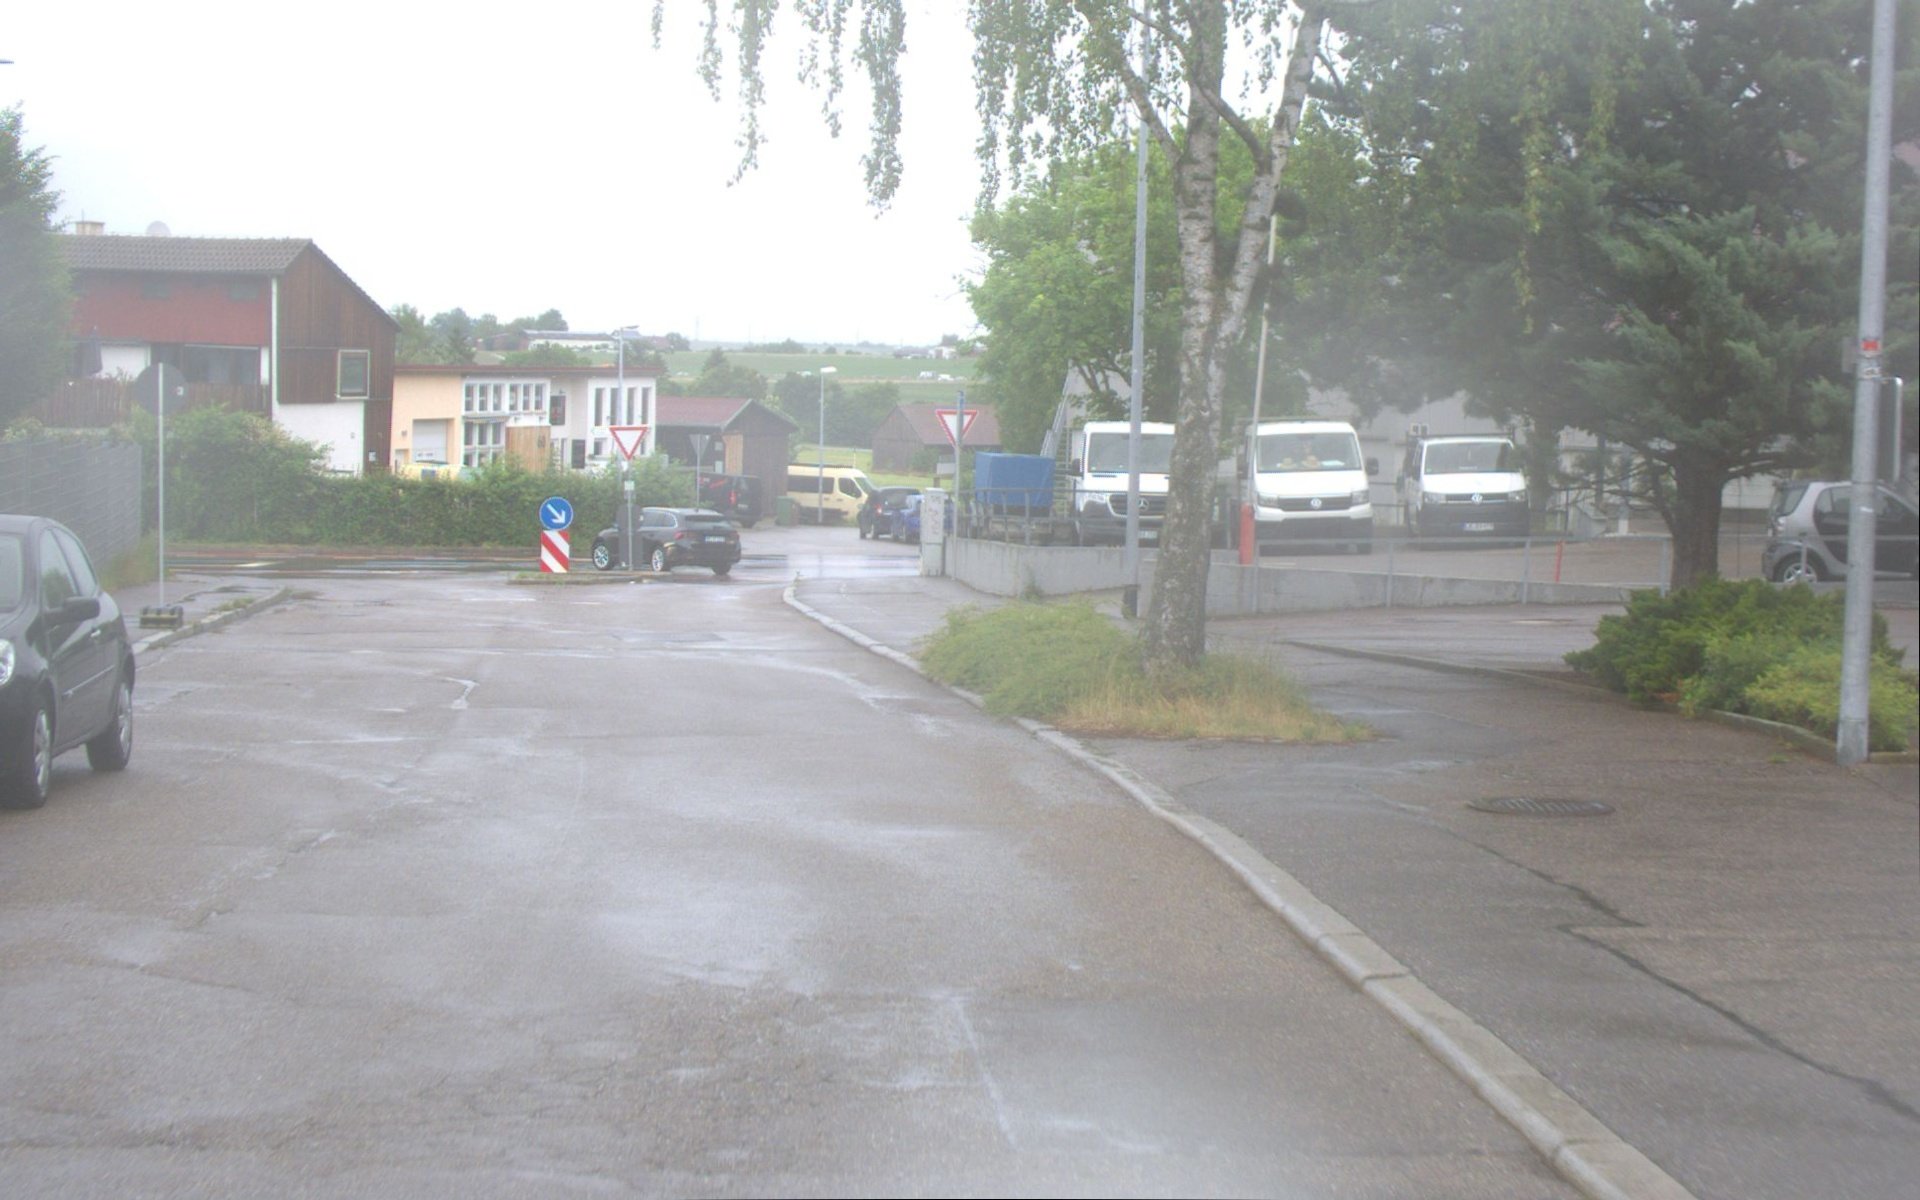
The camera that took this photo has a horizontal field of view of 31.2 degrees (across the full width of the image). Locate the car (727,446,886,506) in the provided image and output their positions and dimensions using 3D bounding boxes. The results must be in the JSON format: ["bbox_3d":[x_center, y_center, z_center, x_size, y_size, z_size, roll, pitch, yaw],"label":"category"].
[{"bbox_3d":[-6.298,-5.097,141.189,6.014,2.406,2.461,1,2,17],"label":"car"}]

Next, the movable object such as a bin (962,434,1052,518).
[{"bbox_3d":[0.841,-2.244,62.267,1.306,1.495,1.859,0,2,-10],"label":"movable object such as a bin"}]

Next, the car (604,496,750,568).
[{"bbox_3d":[-6.366,-1.540,76.896,1.755,1.529,4.001,0,2,-29],"label":"car"}]

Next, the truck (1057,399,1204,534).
[{"bbox_3d":[2.894,-2.294,59.559,2.105,2.206,5.654,1,2,-1],"label":"truck"}]

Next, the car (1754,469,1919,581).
[{"bbox_3d":[11.908,-0.995,45.152,2.713,1.441,1.678,0,2,7],"label":"car"}]

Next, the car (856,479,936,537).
[{"bbox_3d":[-2.106,-3.026,112.017,2.073,1.828,4.472,0,2,-8],"label":"car"}]

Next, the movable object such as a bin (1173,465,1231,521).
[{"bbox_3d":[4.542,-2.010,64.552,1.050,1.039,0.884,1,2,6],"label":"movable object such as a bin"}]

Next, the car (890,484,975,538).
[{"bbox_3d":[-0.868,-2.766,105.911,1.951,1.604,4.448,0,2,-9],"label":"car"}]

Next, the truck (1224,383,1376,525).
[{"bbox_3d":[5.783,-2.484,59.087,2.243,2.333,4.837,0,2,2],"label":"truck"}]

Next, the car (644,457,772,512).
[{"bbox_3d":[-9.039,-4.141,123.286,4.406,1.898,1.995,2,2,39],"label":"car"}]

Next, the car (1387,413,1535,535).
[{"bbox_3d":[8.684,-2.189,59.939,2.056,2.006,4.938,1,2,3],"label":"car"}]

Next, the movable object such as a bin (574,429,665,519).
[{"bbox_3d":[-9.883,-3.649,99.933,1.733,2.547,3.338,1,2,11],"label":"movable object such as a bin"}]

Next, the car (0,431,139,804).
[{"bbox_3d":[-5.527,0.012,18.388,1.739,1.791,3.960,1,2,-7],"label":"car"}]
